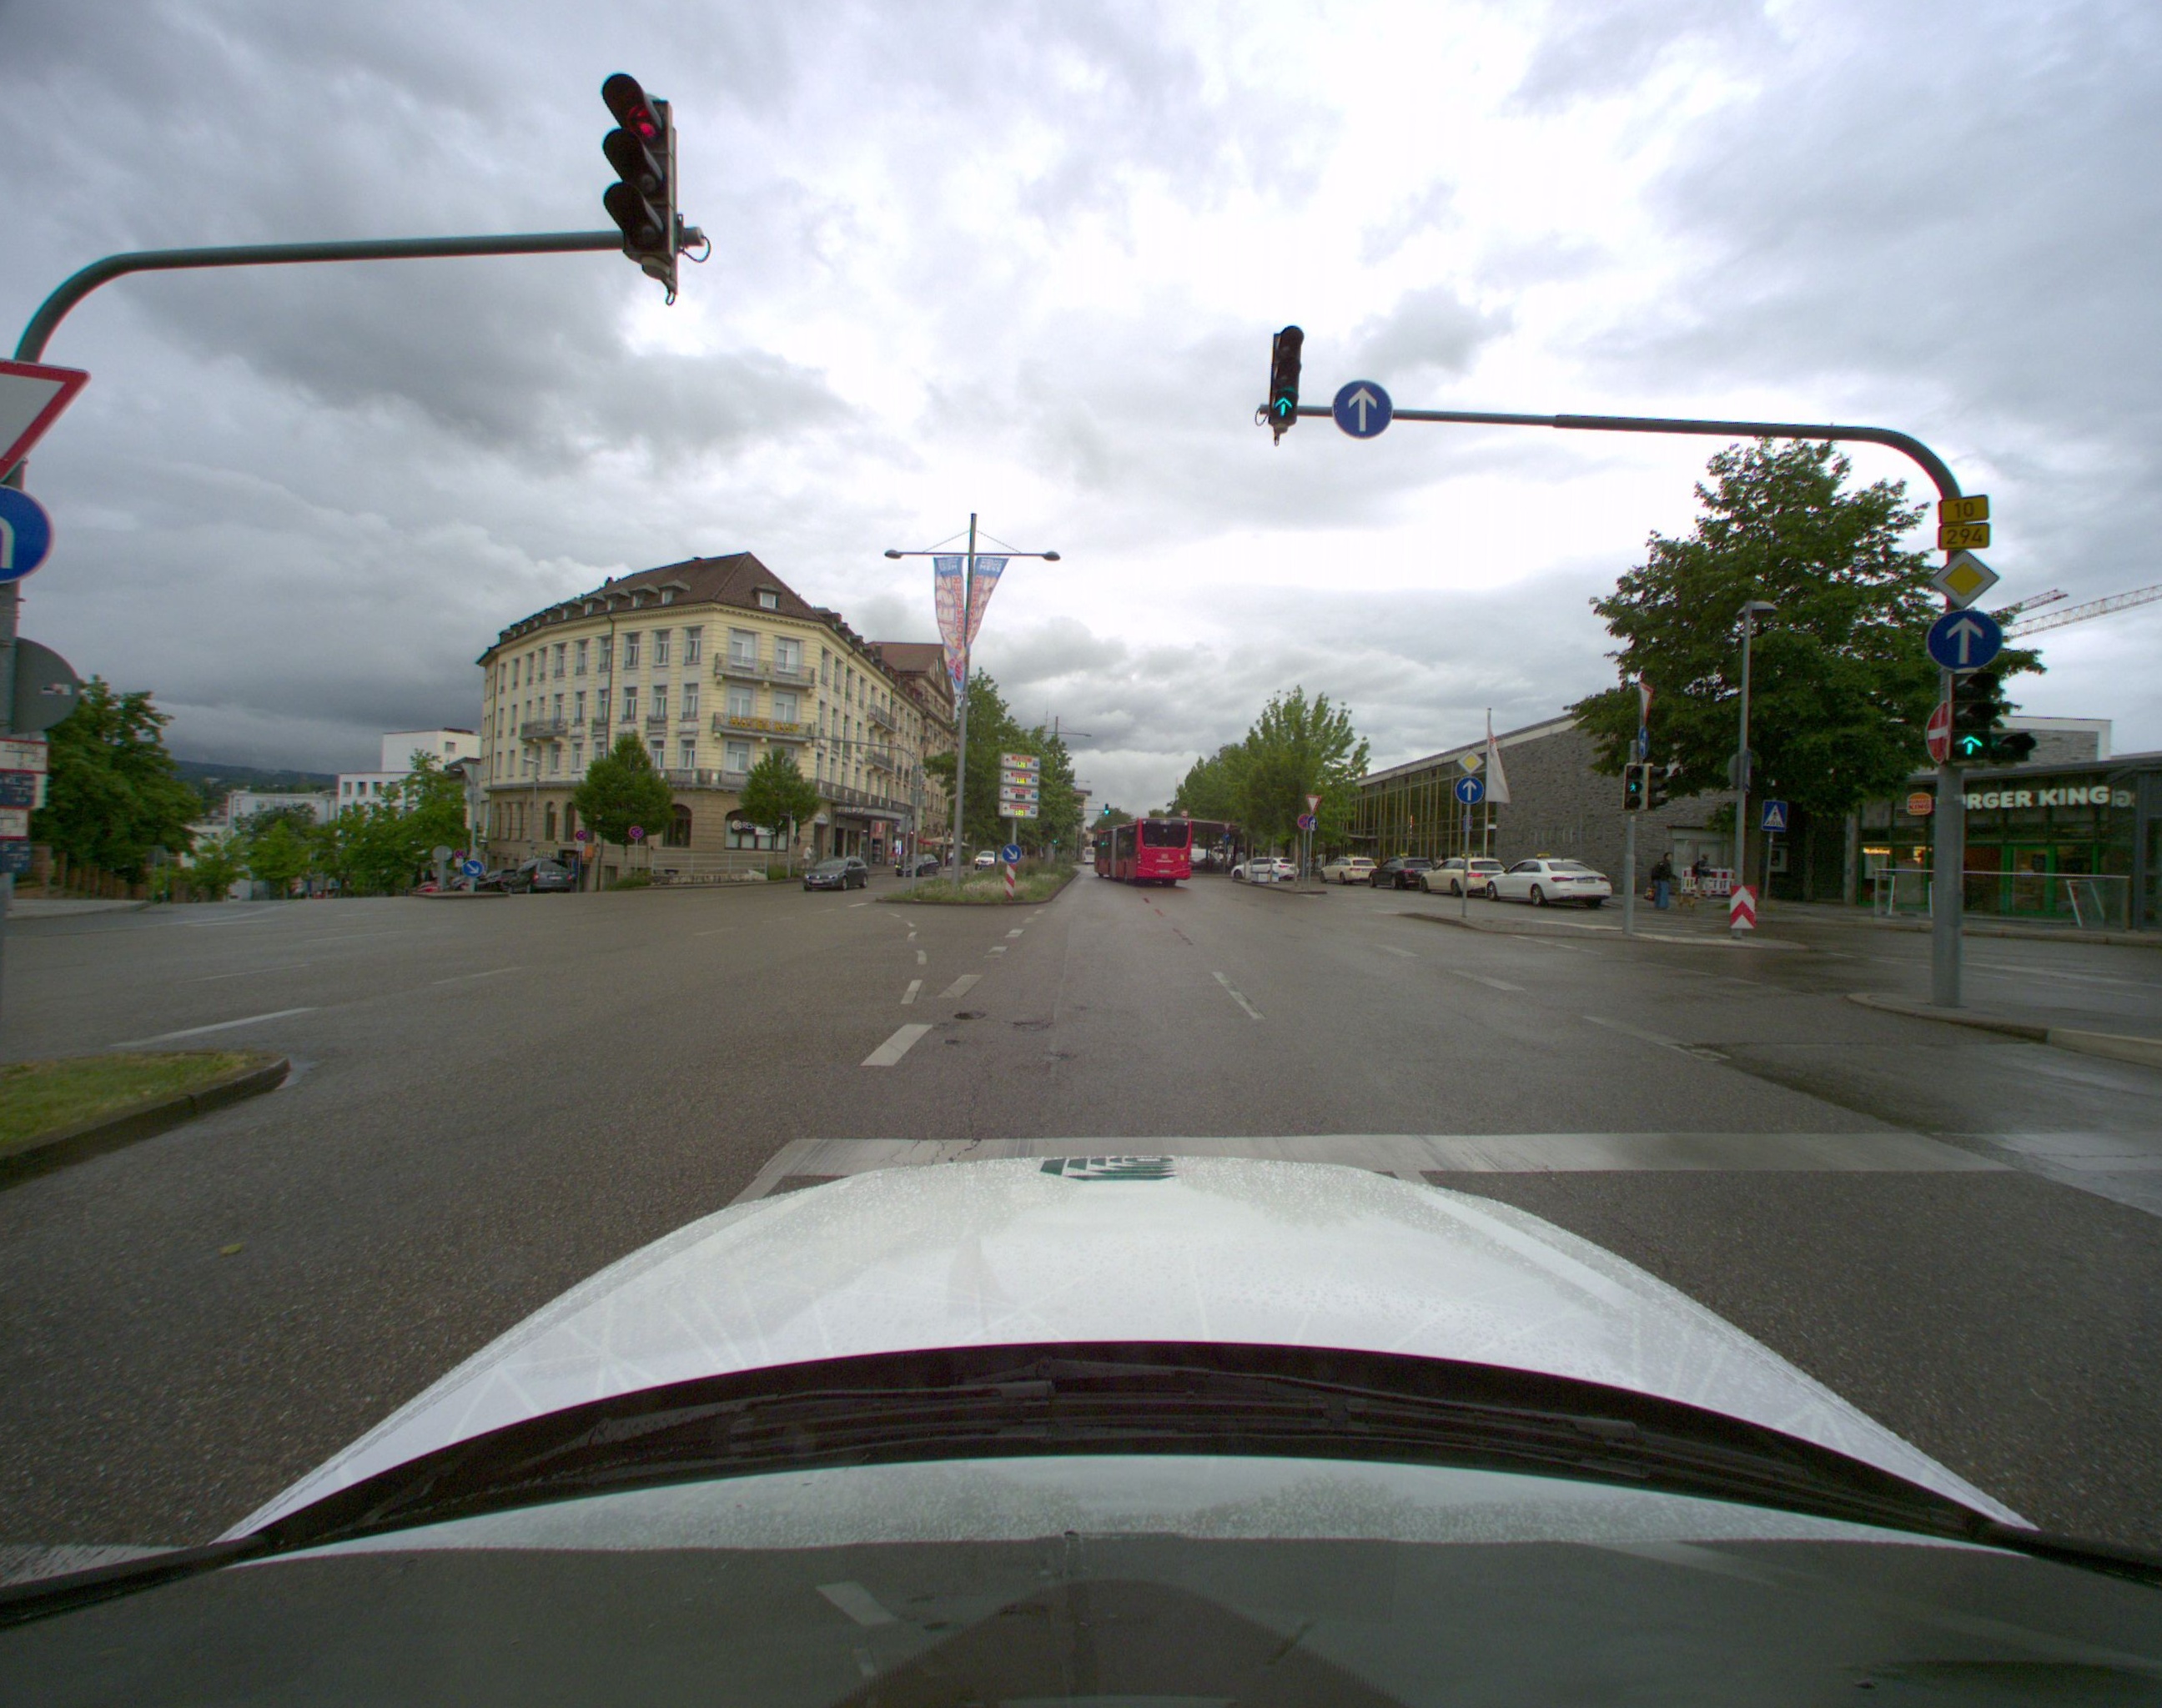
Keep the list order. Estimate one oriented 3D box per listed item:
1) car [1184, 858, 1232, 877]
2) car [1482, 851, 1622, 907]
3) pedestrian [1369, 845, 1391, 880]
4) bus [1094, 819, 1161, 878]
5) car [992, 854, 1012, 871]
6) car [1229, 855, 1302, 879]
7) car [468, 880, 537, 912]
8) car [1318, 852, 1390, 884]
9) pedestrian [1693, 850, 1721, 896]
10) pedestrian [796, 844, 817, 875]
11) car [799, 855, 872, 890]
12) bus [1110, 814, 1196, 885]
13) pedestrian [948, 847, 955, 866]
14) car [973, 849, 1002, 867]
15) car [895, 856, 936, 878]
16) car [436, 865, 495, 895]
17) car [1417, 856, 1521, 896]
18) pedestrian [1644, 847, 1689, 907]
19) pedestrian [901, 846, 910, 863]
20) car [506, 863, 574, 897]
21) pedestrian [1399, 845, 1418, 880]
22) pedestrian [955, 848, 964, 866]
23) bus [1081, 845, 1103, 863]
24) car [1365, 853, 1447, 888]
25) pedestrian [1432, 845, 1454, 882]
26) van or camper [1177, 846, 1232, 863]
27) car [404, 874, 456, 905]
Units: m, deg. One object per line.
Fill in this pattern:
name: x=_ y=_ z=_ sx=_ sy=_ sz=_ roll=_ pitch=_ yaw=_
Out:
car: x=12.820 y=1.387 z=82.132 sx=4.348 sy=1.857 sz=1.988 roll=0 pitch=0 yaw=-18
car: x=14.643 y=0.722 z=25.650 sx=1.768 sy=1.589 sz=4.615 roll=0 pitch=0 yaw=0
pedestrian: x=17.327 y=0.477 z=47.243 sx=0.814 sy=2.014 sz=0.914 roll=1 pitch=0 yaw=-22
bus: x=2.593 y=-0.268 z=49.075 sx=2.738 sy=3.174 sz=10.178 roll=0 pitch=0 yaw=-4
car: x=-8.341 y=0.910 z=86.223 sx=1.989 sy=1.758 sz=3.995 roll=0 pitch=0 yaw=-3
car: x=11.483 y=0.787 z=50.938 sx=1.788 sy=1.385 sz=4.318 roll=0 pitch=0 yaw=-39
car: x=-31.974 y=2.289 z=44.983 sx=3.948 sy=1.640 sz=2.013 roll=-1 pitch=-1 yaw=37
car: x=14.679 y=0.715 z=44.090 sx=1.990 sy=1.600 sz=4.814 roll=0 pitch=0 yaw=-5
pedestrian: x=22.552 y=0.688 z=29.337 sx=0.558 sy=1.633 sz=0.566 roll=0 pitch=0 yaw=0
pedestrian: x=-16.755 y=0.333 z=49.717 sx=0.860 sy=1.878 sz=1.023 roll=0 pitch=0 yaw=1
car: x=-10.878 y=0.785 z=36.343 sx=1.747 sy=1.440 sz=4.065 roll=0 pitch=1 yaw=4
bus: x=3.362 y=-0.186 z=40.375 sx=2.739 sy=3.174 sz=8.103 roll=0 pitch=0 yaw=-6
pedestrian: x=-12.247 y=0.228 z=77.154 sx=0.573 sy=1.732 sz=0.609 roll=0 pitch=0 yaw=1
car: x=-8.310 y=0.349 z=72.655 sx=1.747 sy=1.369 sz=4.066 roll=0 pitch=2 yaw=4
car: x=-10.800 y=0.829 z=53.517 sx=1.748 sy=1.369 sz=4.061 roll=0 pitch=1 yaw=2
car: x=-36.315 y=1.487 z=48.027 sx=3.864 sy=1.640 sz=1.805 roll=0 pitch=0 yaw=37
car: x=14.783 y=0.788 z=31.369 sx=1.840 sy=1.452 sz=4.666 roll=0 pitch=0 yaw=0
pedestrian: x=16.687 y=0.652 z=23.229 sx=0.805 sy=1.674 sz=0.713 roll=0 pitch=0 yaw=1
pedestrian: x=-16.234 y=0.061 z=75.176 sx=0.666 sy=1.510 sz=0.513 roll=0 pitch=-1 yaw=-36
car: x=-27.104 y=1.268 z=40.765 sx=3.949 sy=1.568 sz=1.812 roll=0 pitch=0 yaw=41
pedestrian: x=19.004 y=0.482 z=47.263 sx=0.808 sy=2.014 sz=0.922 roll=0 pitch=0 yaw=2
pedestrian: x=-11.505 y=0.245 z=77.145 sx=0.672 sy=1.701 sz=0.634 roll=0 pitch=0 yaw=1
bus: x=1.987 y=0.065 z=156.041 sx=3.749 sy=3.209 sz=15.520 roll=0 pitch=0 yaw=-1
car: x=14.881 y=0.712 z=37.595 sx=1.907 sy=1.524 sz=4.741 roll=0 pitch=0 yaw=0
pedestrian: x=19.889 y=0.541 z=44.742 sx=0.808 sy=2.014 sz=0.921 roll=0 pitch=0 yaw=1
van or camper: x=15.664 y=0.088 z=103.356 sx=6.787 sy=2.014 sz=2.366 roll=0 pitch=-1 yaw=-25
car: x=-41.191 y=2.204 z=51.488 sx=3.575 sy=1.812 sz=1.788 roll=0 pitch=0 yaw=38
